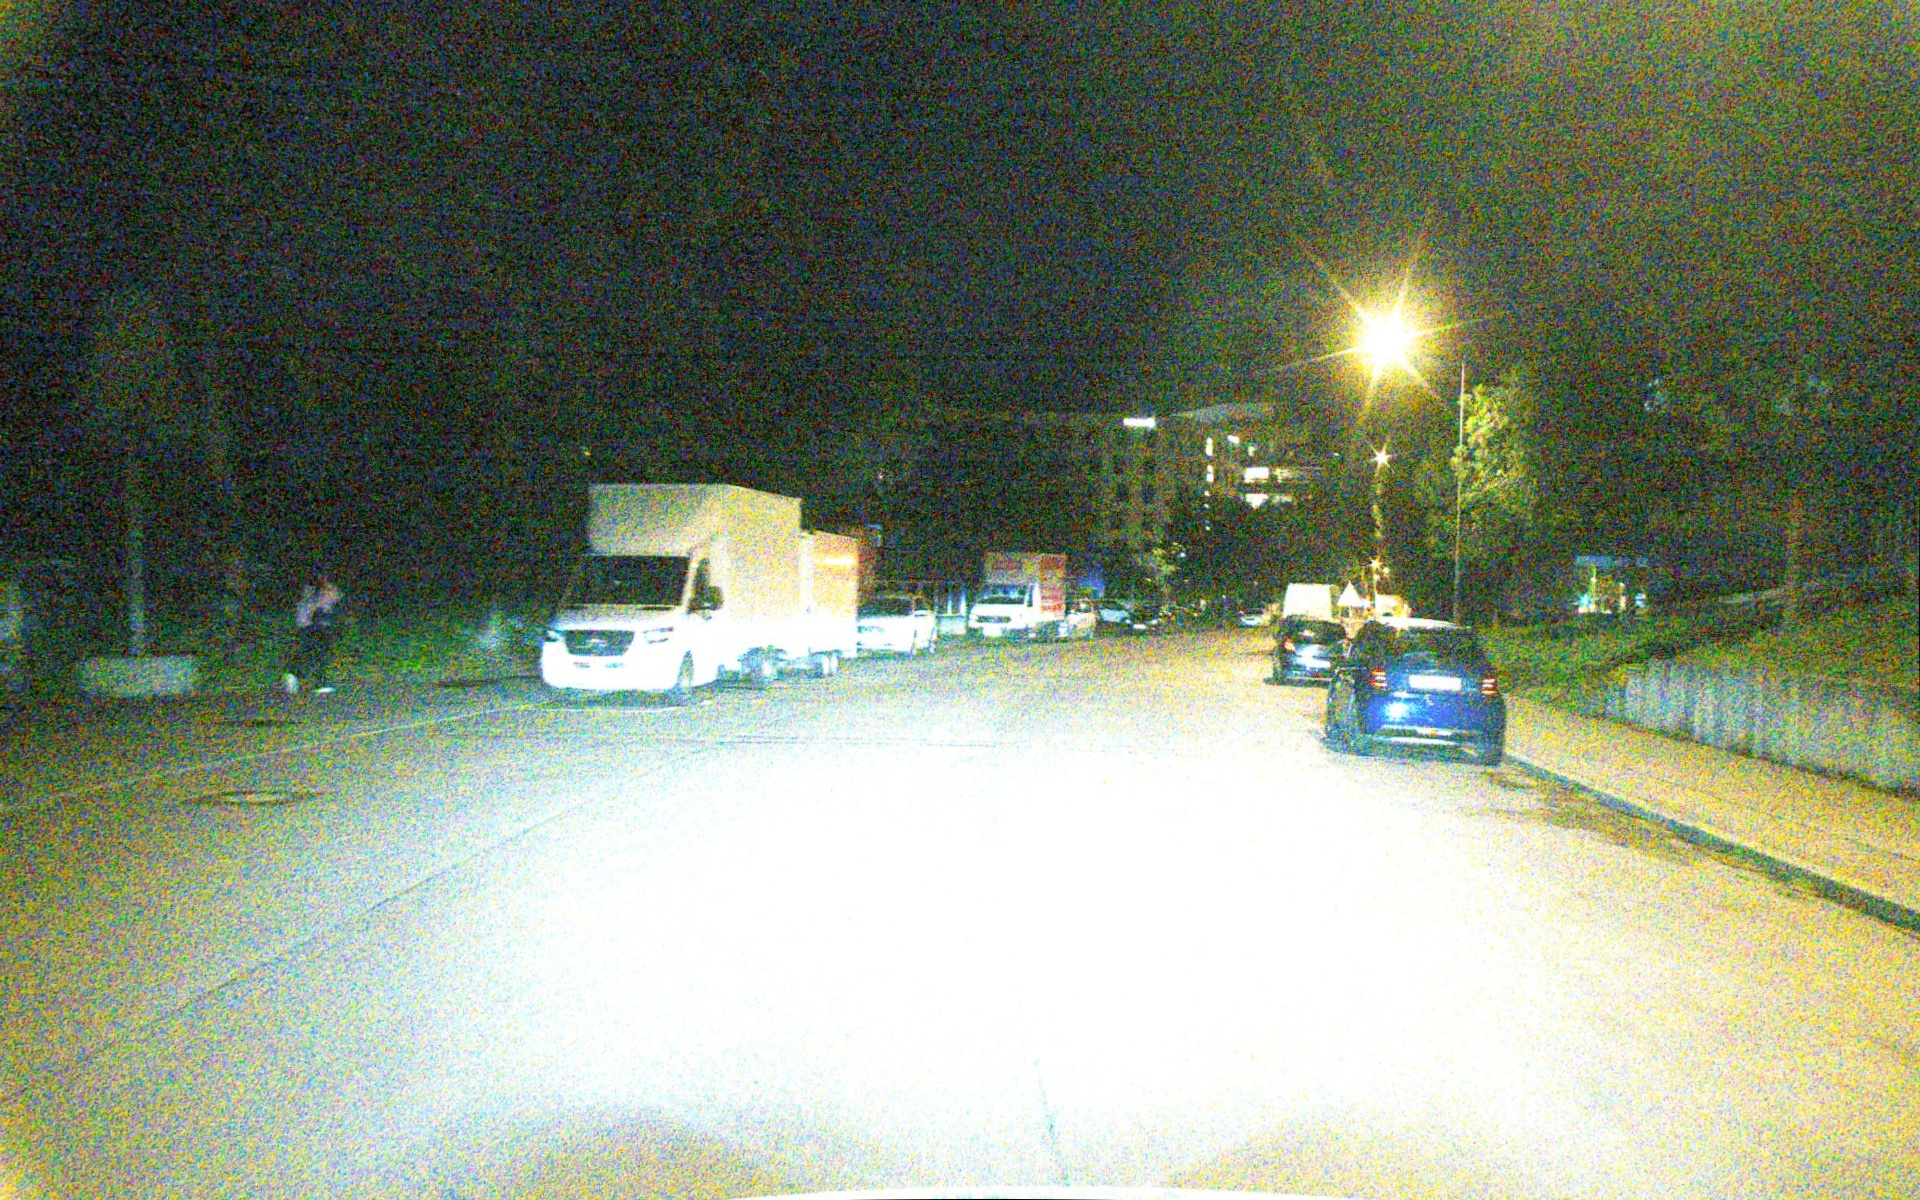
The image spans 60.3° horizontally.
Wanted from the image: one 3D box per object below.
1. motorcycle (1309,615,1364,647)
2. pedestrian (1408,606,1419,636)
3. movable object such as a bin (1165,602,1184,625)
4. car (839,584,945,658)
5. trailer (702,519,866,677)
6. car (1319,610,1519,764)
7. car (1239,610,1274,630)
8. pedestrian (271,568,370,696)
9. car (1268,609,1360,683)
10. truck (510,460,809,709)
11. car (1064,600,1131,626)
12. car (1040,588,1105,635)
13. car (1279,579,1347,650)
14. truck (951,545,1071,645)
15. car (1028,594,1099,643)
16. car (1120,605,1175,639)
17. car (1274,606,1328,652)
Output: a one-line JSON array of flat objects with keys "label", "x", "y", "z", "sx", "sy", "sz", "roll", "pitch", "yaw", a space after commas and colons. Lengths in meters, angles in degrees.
[{"label": "motorcycle", "x": 15.552, "y": 1.261, "z": 68.347, "sx": 0.761, "sy": 1.204, "sz": 2.154, "roll": 2, "pitch": 0, "yaw": -40}, {"label": "pedestrian", "x": 28.078, "y": 1.291, "z": 102.342, "sx": 0.558, "sy": 1.885, "sz": 0.820, "roll": 1, "pitch": 0, "yaw": 19}, {"label": "movable object such as a bin", "x": 14.236, "y": 0.881, "z": 109.774, "sx": 1.139, "sy": 1.522, "sz": 1.066, "roll": 1, "pitch": 0, "yaw": 15}, {"label": "car", "x": -1.715, "y": 0.533, "z": 43.552, "sx": 1.951, "sy": 1.803, "sz": 4.696, "roll": 1, "pitch": 0, "yaw": 8}, {"label": "trailer", "x": -3.346, "y": -0.034, "z": 32.444, "sx": 2.158, "sy": 2.844, "sz": 4.620, "roll": 1, "pitch": 0, "yaw": 7}, {"label": "car", "x": 5.335, "y": 0.945, "z": 19.660, "sx": 1.574, "sy": 1.538, "sz": 3.828, "roll": 3, "pitch": 0, "yaw": 6}, {"label": "car", "x": 21.724, "y": 1.458, "z": 121.191, "sx": 1.871, "sy": 1.428, "sz": 4.339, "roll": 1, "pitch": 0, "yaw": 19}, {"label": "pedestrian", "x": -8.725, "y": 0.428, "z": 22.570, "sx": 0.763, "sy": 1.700, "sz": 1.003, "roll": 0, "pitch": 0, "yaw": 33}, {"label": "car", "x": 8.054, "y": 1.007, "z": 37.918, "sx": 1.674, "sy": 1.534, "sz": 4.003, "roll": 2, "pitch": 0, "yaw": 7}, {"label": "truck", "x": -4.380, "y": -0.207, "z": 25.801, "sx": 2.322, "sy": 3.300, "sz": 7.238, "roll": 1, "pitch": 0, "yaw": 8}, {"label": "car", "x": 8.660, "y": 0.790, "z": 104.396, "sx": 3.903, "sy": 1.598, "sz": 1.818, "roll": 0, "pitch": 0, "yaw": 18}, {"label": "car", "x": 5.928, "y": 0.596, "z": 86.812, "sx": 1.953, "sy": 2.362, "sz": 4.966, "roll": -1, "pitch": -1, "yaw": 22}, {"label": "car", "x": 13.794, "y": 0.567, "z": 64.402, "sx": 1.978, "sy": 2.570, "sz": 6.054, "roll": 2, "pitch": 0, "yaw": 17}, {"label": "truck", "x": 1.947, "y": -0.152, "z": 59.596, "sx": 2.490, "sy": 3.338, "sz": 7.316, "roll": 1, "pitch": 0, "yaw": 17}, {"label": "car", "x": 4.172, "y": 0.713, "z": 65.866, "sx": 1.790, "sy": 1.848, "sz": 4.841, "roll": 1, "pitch": 0, "yaw": 17}, {"label": "car", "x": 9.443, "y": 1.127, "z": 83.177, "sx": 1.719, "sy": 1.553, "sz": 4.323, "roll": 3, "pitch": -1, "yaw": 20}, {"label": "car", "x": 12.036, "y": 0.990, "z": 58.197, "sx": 1.674, "sy": 1.534, "sz": 4.644, "roll": 1, "pitch": 0, "yaw": 14}]
